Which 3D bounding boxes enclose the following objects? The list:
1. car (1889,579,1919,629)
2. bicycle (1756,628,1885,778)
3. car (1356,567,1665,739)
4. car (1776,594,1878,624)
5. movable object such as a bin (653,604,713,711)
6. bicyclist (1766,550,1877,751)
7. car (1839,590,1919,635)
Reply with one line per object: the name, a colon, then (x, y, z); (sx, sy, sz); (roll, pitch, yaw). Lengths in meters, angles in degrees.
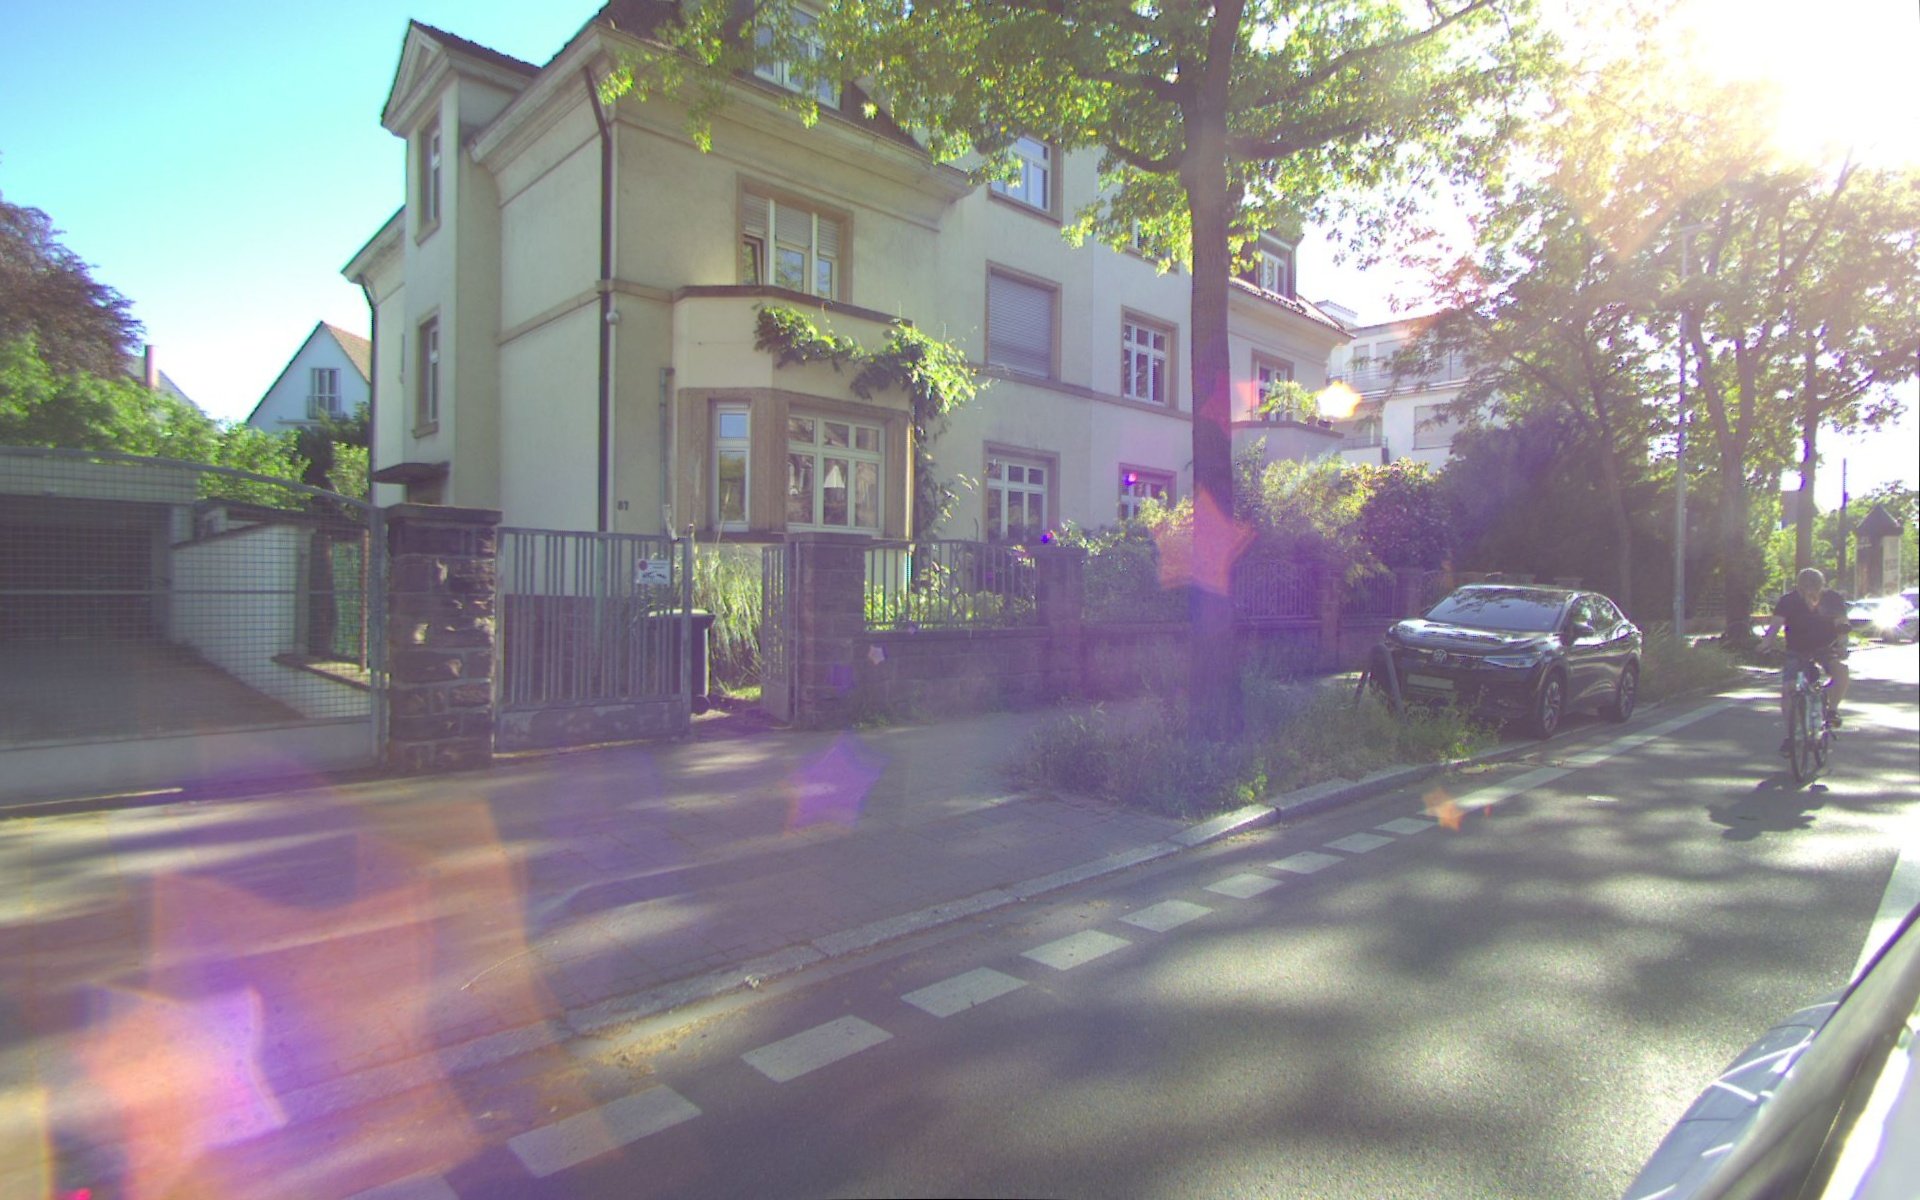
car: (36.671, 0.128, 37.850); (4.580, 1.808, 1.903); (0, 1, -35)
bicycle: (7.542, 0.841, 8.843); (1.823, 1.125, 0.588); (0, 0, -41)
car: (6.707, 0.496, 12.133); (4.186, 1.619, 1.917); (0, 4, -42)
car: (46.067, 0.457, 53.833); (1.784, 1.459, 3.990); (0, 1, -44)
movable object such as a bin: (-2.925, 0.586, 10.669); (0.551, 1.062, 0.676); (0, 0, -20)
bicyclist: (7.547, 0.415, 8.863); (0.654, 1.662, 0.643); (0, 0, -41)
car: (31.511, 0.382, 34.268); (4.181, 1.427, 1.901); (0, 1, -38)
